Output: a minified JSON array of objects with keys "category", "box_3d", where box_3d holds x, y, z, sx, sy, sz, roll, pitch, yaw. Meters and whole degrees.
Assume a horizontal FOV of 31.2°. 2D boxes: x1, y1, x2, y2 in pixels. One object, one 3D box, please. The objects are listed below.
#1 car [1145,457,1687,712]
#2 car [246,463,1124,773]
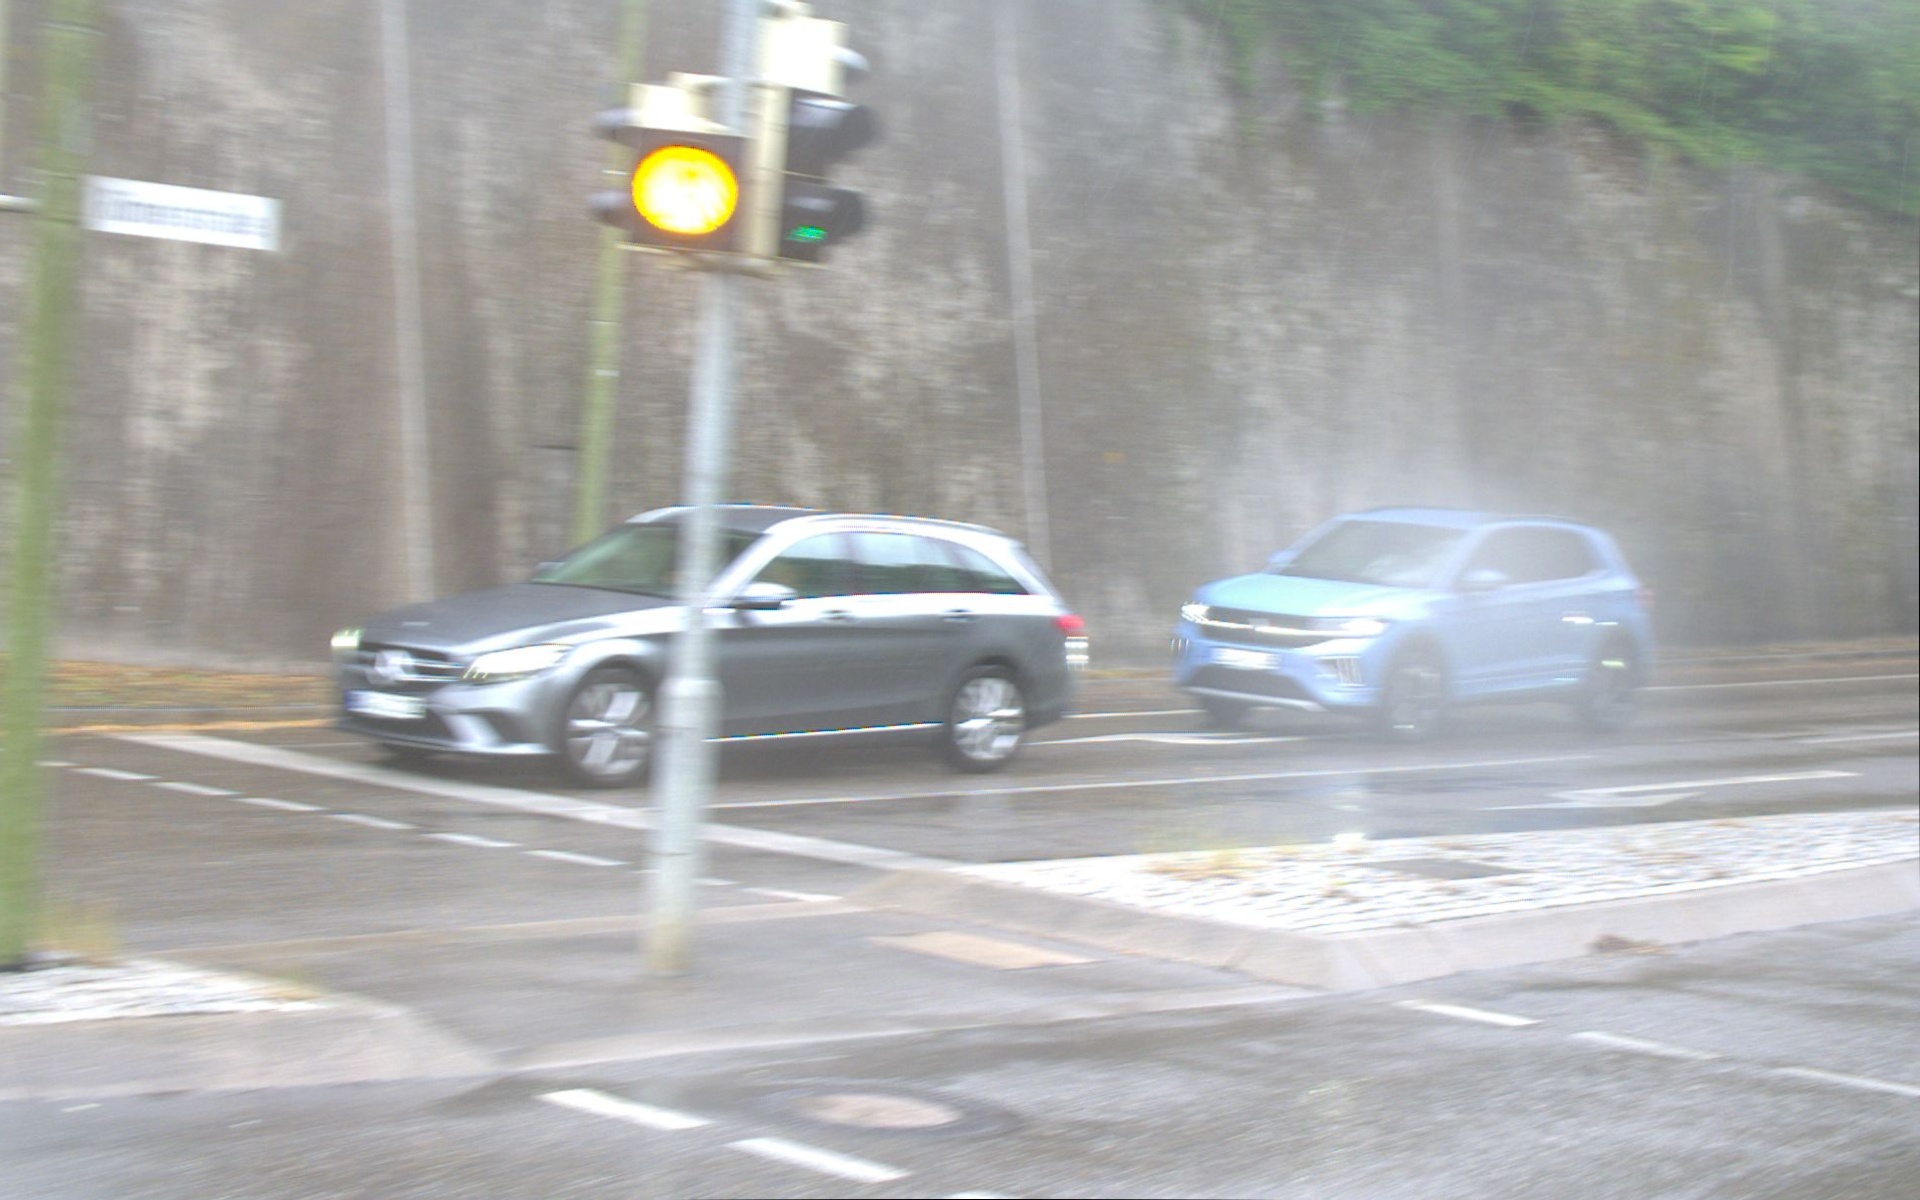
[{"category":"car","box_3d":[3.336,-0.121,24.630,1.819,1.652,4.040,3,2,42]},{"category":"car","box_3d":[-1.413,0.061,19.223,1.999,1.498,4.716,3,2,44]}]
